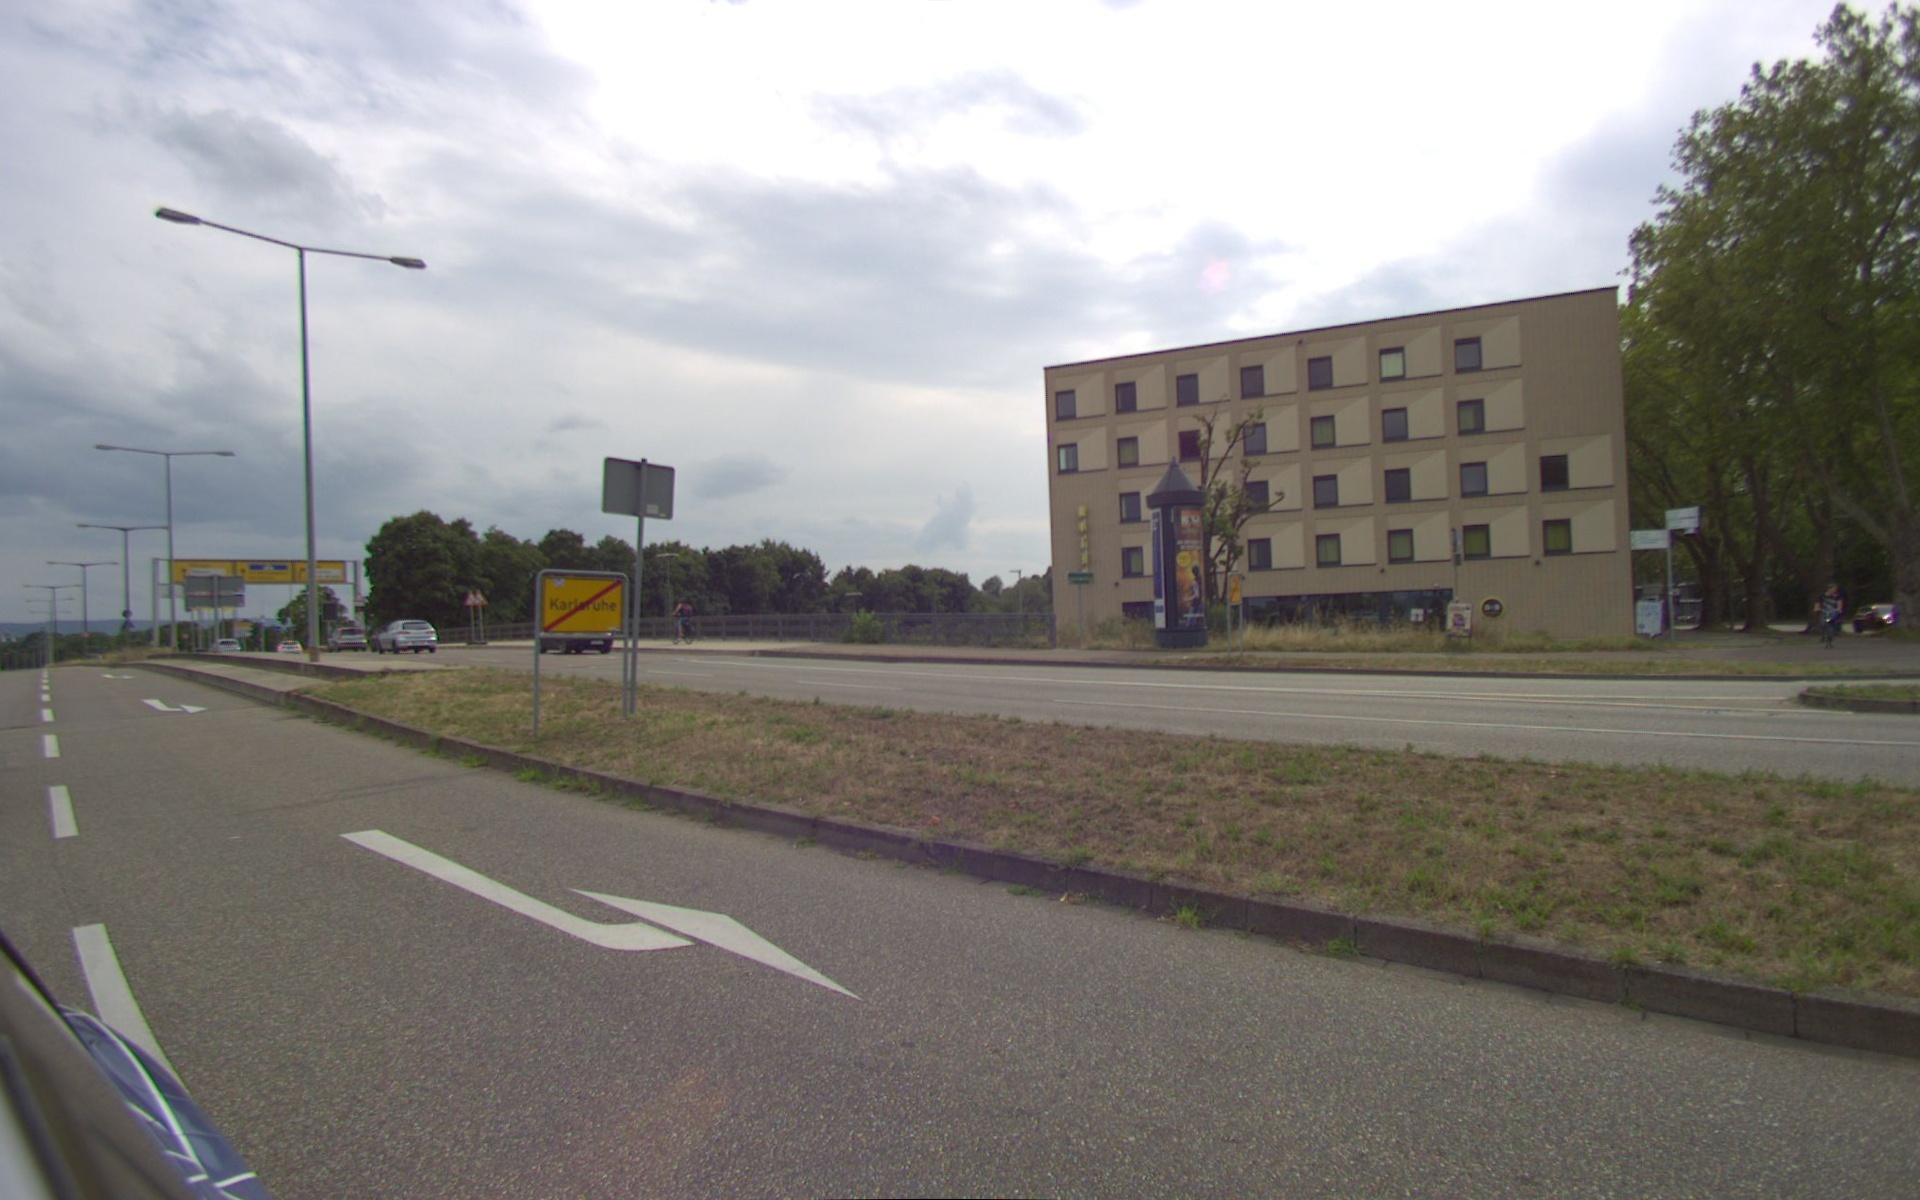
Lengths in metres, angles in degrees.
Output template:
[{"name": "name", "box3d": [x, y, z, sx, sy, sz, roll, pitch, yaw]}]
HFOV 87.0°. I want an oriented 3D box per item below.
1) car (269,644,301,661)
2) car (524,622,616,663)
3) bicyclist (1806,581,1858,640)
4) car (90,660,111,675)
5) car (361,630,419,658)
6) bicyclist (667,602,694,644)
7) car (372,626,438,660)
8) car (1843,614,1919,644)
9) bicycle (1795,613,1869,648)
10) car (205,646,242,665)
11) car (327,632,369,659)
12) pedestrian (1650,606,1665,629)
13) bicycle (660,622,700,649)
[{"name": "car", "box3d": [-59.097, 4.577, 88.564, 1.894, 1.426, 4.890, 1, -3, -39]}, {"name": "car", "box3d": [-15.016, 1.593, 38.860, 1.799, 1.457, 4.357, 0, -1, -43]}, {"name": "bicyclist", "box3d": [24.631, 0.305, 28.577, 0.904, 1.627, 0.744, -1, -2, -24]}, {"name": "car", "box3d": [-104.390, 8.192, 122.891, 1.864, 1.652, 4.590, -1, -2, -42]}, {"name": "car", "box3d": [-30.188, 2.293, 53.540, 1.722, 1.421, 3.879, 1, -2, -44]}, {"name": "bicyclist", "box3d": [-11.400, 0.956, 41.265, 0.848, 1.684, 0.676, -3, -1, 45]}, {"name": "car", "box3d": [-24.292, 1.869, 44.234, 1.597, 1.421, 3.863, 1, -2, -43]}, {"name": "car", "box3d": [45.297, 1.396, 49.206, 1.932, 1.391, 4.192, -1, -1, 16]}, {"name": "bicycle", "box3d": [24.606, 0.860, 28.546, 2.082, 0.916, 0.744, -1, -1, -24]}, {"name": "car", "box3d": [-59.449, 4.444, 81.655, 1.788, 1.426, 4.032, 1, -2, -45]}, {"name": "car", "box3d": [-39.244, 2.870, 64.831, 1.720, 1.671, 4.086, 1, -2, -39]}, {"name": "pedestrian", "box3d": [34.484, 0.857, 50.027, 0.500, 1.133, 0.459, -2, -2, 29]}, {"name": "bicycle", "box3d": [-11.427, 1.464, 41.284, 0.676, 1.061, 1.995, -1, -1, -45]}]
